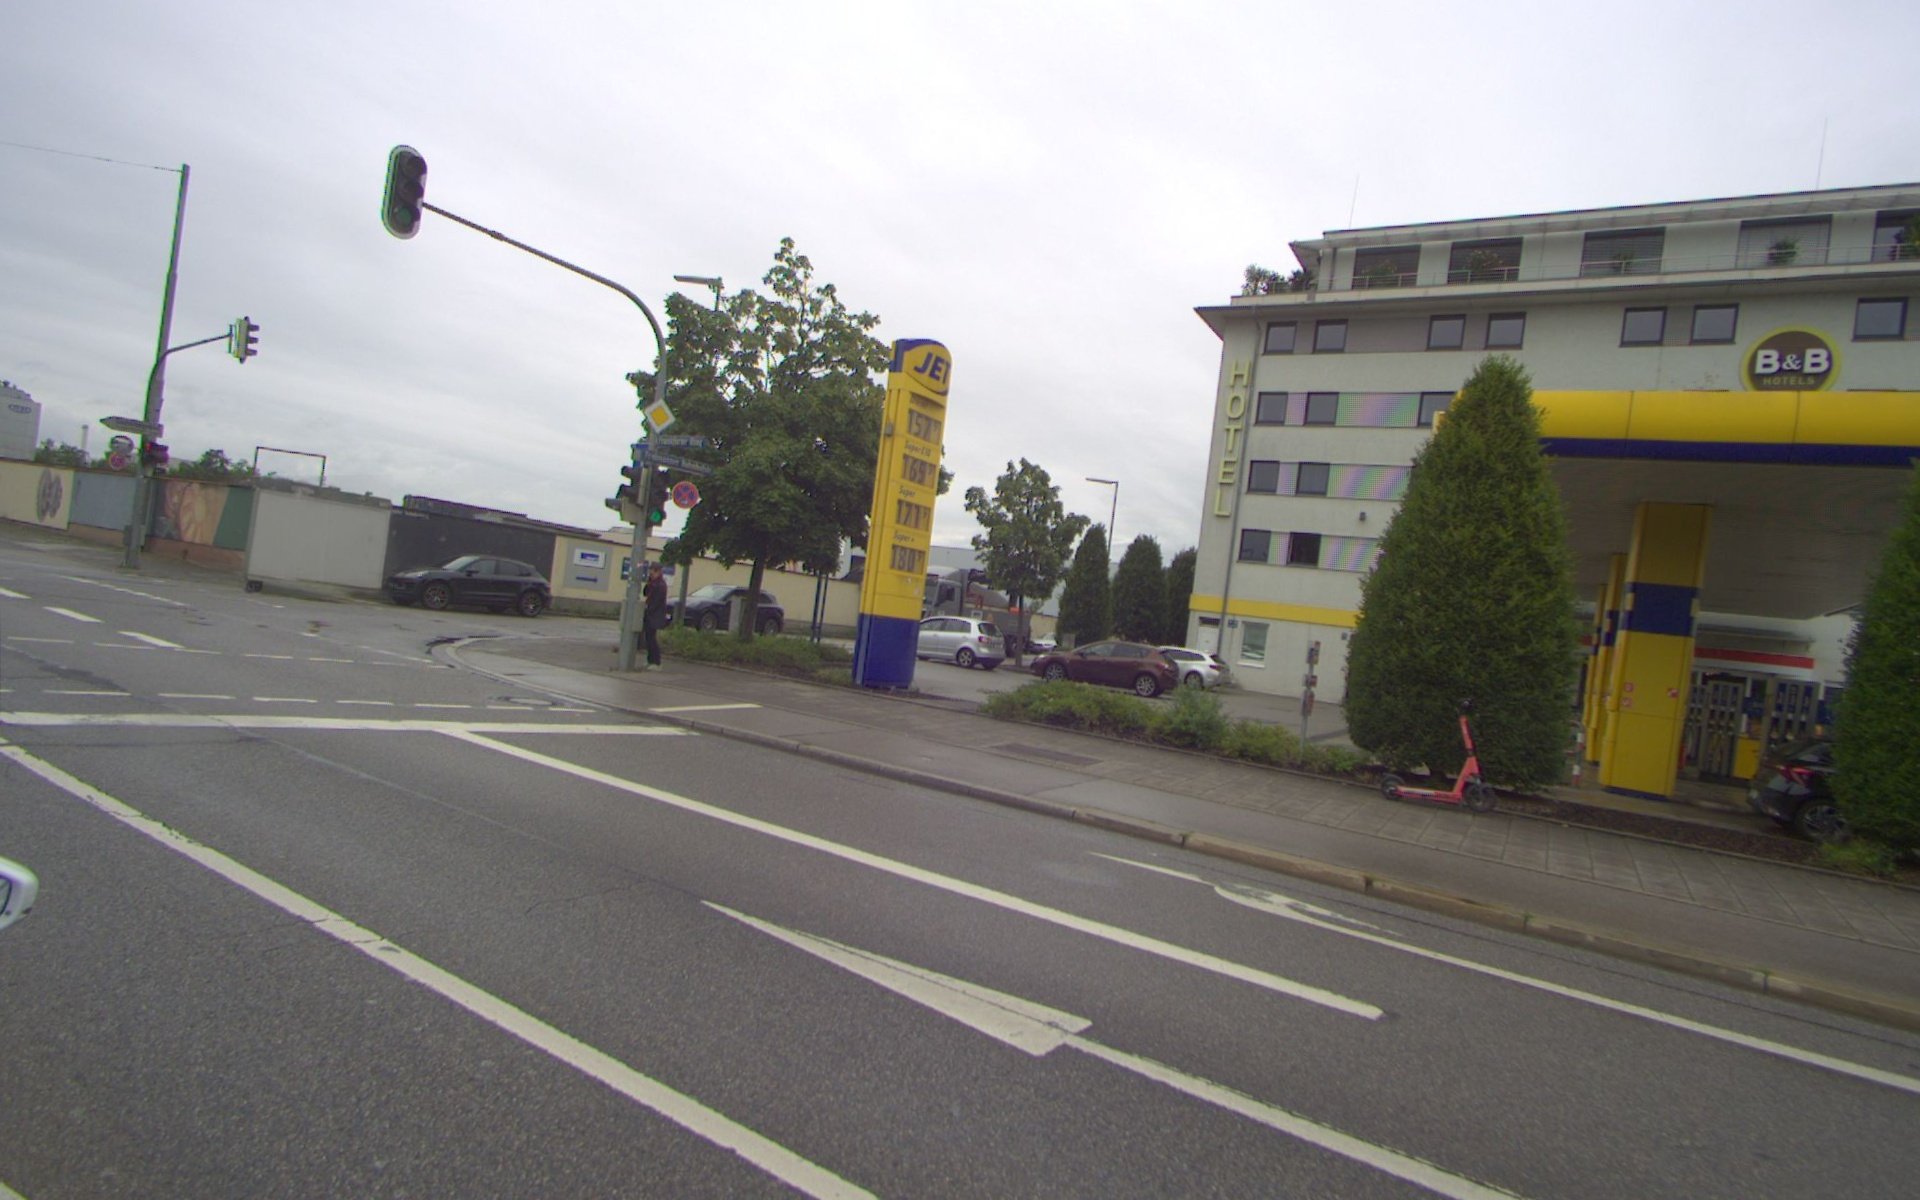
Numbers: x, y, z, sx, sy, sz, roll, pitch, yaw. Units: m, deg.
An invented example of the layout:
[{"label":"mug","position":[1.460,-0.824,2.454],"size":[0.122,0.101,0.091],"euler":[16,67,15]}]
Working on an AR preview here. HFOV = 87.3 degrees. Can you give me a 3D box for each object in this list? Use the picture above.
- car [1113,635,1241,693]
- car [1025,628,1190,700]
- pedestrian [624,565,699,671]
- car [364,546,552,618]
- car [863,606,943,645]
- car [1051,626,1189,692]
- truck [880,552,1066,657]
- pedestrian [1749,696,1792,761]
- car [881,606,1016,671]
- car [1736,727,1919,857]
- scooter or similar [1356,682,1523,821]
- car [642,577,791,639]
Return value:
[{"label":"car","position":[8.020,2.359,37.310],"size":[4.122,1.495,1.907],"euler":[7,-2,31]},{"label":"car","position":[4.229,1.830,28.844],"size":[4.283,1.400,1.705],"euler":[8,-2,21]},{"label":"pedestrian","position":[-4.873,0.298,16.444],"size":[0.676,1.636,0.803],"euler":[7,2,30]},{"label":"car","position":[-14.092,-0.468,28.458],"size":[1.968,1.445,4.254],"euler":[7,-1,34]},{"label":"car","position":[-2.771,1.290,49.380],"size":[1.736,1.493,3.990],"euler":[7,-1,34]},{"label":"car","position":[5.093,1.890,32.252],"size":[3.913,1.503,1.626],"euler":[7,-2,33]},{"label":"truck","position":[1.018,0.435,48.315],"size":[2.568,3.902,11.908],"euler":[7,-1,34]},{"label":"pedestrian","position":[22.994,3.635,28.559],"size":[0.632,1.749,0.708],"euler":[7,-1,27]},{"label":"car","position":[-0.392,1.245,32.463],"size":[3.910,1.503,1.627],"euler":[7,-2,29]},{"label":"car","position":[12.833,2.665,13.128],"size":[3.932,1.347,1.799],"euler":[7,-2,30]},{"label":"scooter or similar","position":[5.352,1.659,11.284],"size":[1.521,1.259,0.355],"euler":[7,3,36]},{"label":"car","position":[-8.050,0.307,33.698],"size":[1.968,1.551,4.622],"euler":[7,-1,34]}]
